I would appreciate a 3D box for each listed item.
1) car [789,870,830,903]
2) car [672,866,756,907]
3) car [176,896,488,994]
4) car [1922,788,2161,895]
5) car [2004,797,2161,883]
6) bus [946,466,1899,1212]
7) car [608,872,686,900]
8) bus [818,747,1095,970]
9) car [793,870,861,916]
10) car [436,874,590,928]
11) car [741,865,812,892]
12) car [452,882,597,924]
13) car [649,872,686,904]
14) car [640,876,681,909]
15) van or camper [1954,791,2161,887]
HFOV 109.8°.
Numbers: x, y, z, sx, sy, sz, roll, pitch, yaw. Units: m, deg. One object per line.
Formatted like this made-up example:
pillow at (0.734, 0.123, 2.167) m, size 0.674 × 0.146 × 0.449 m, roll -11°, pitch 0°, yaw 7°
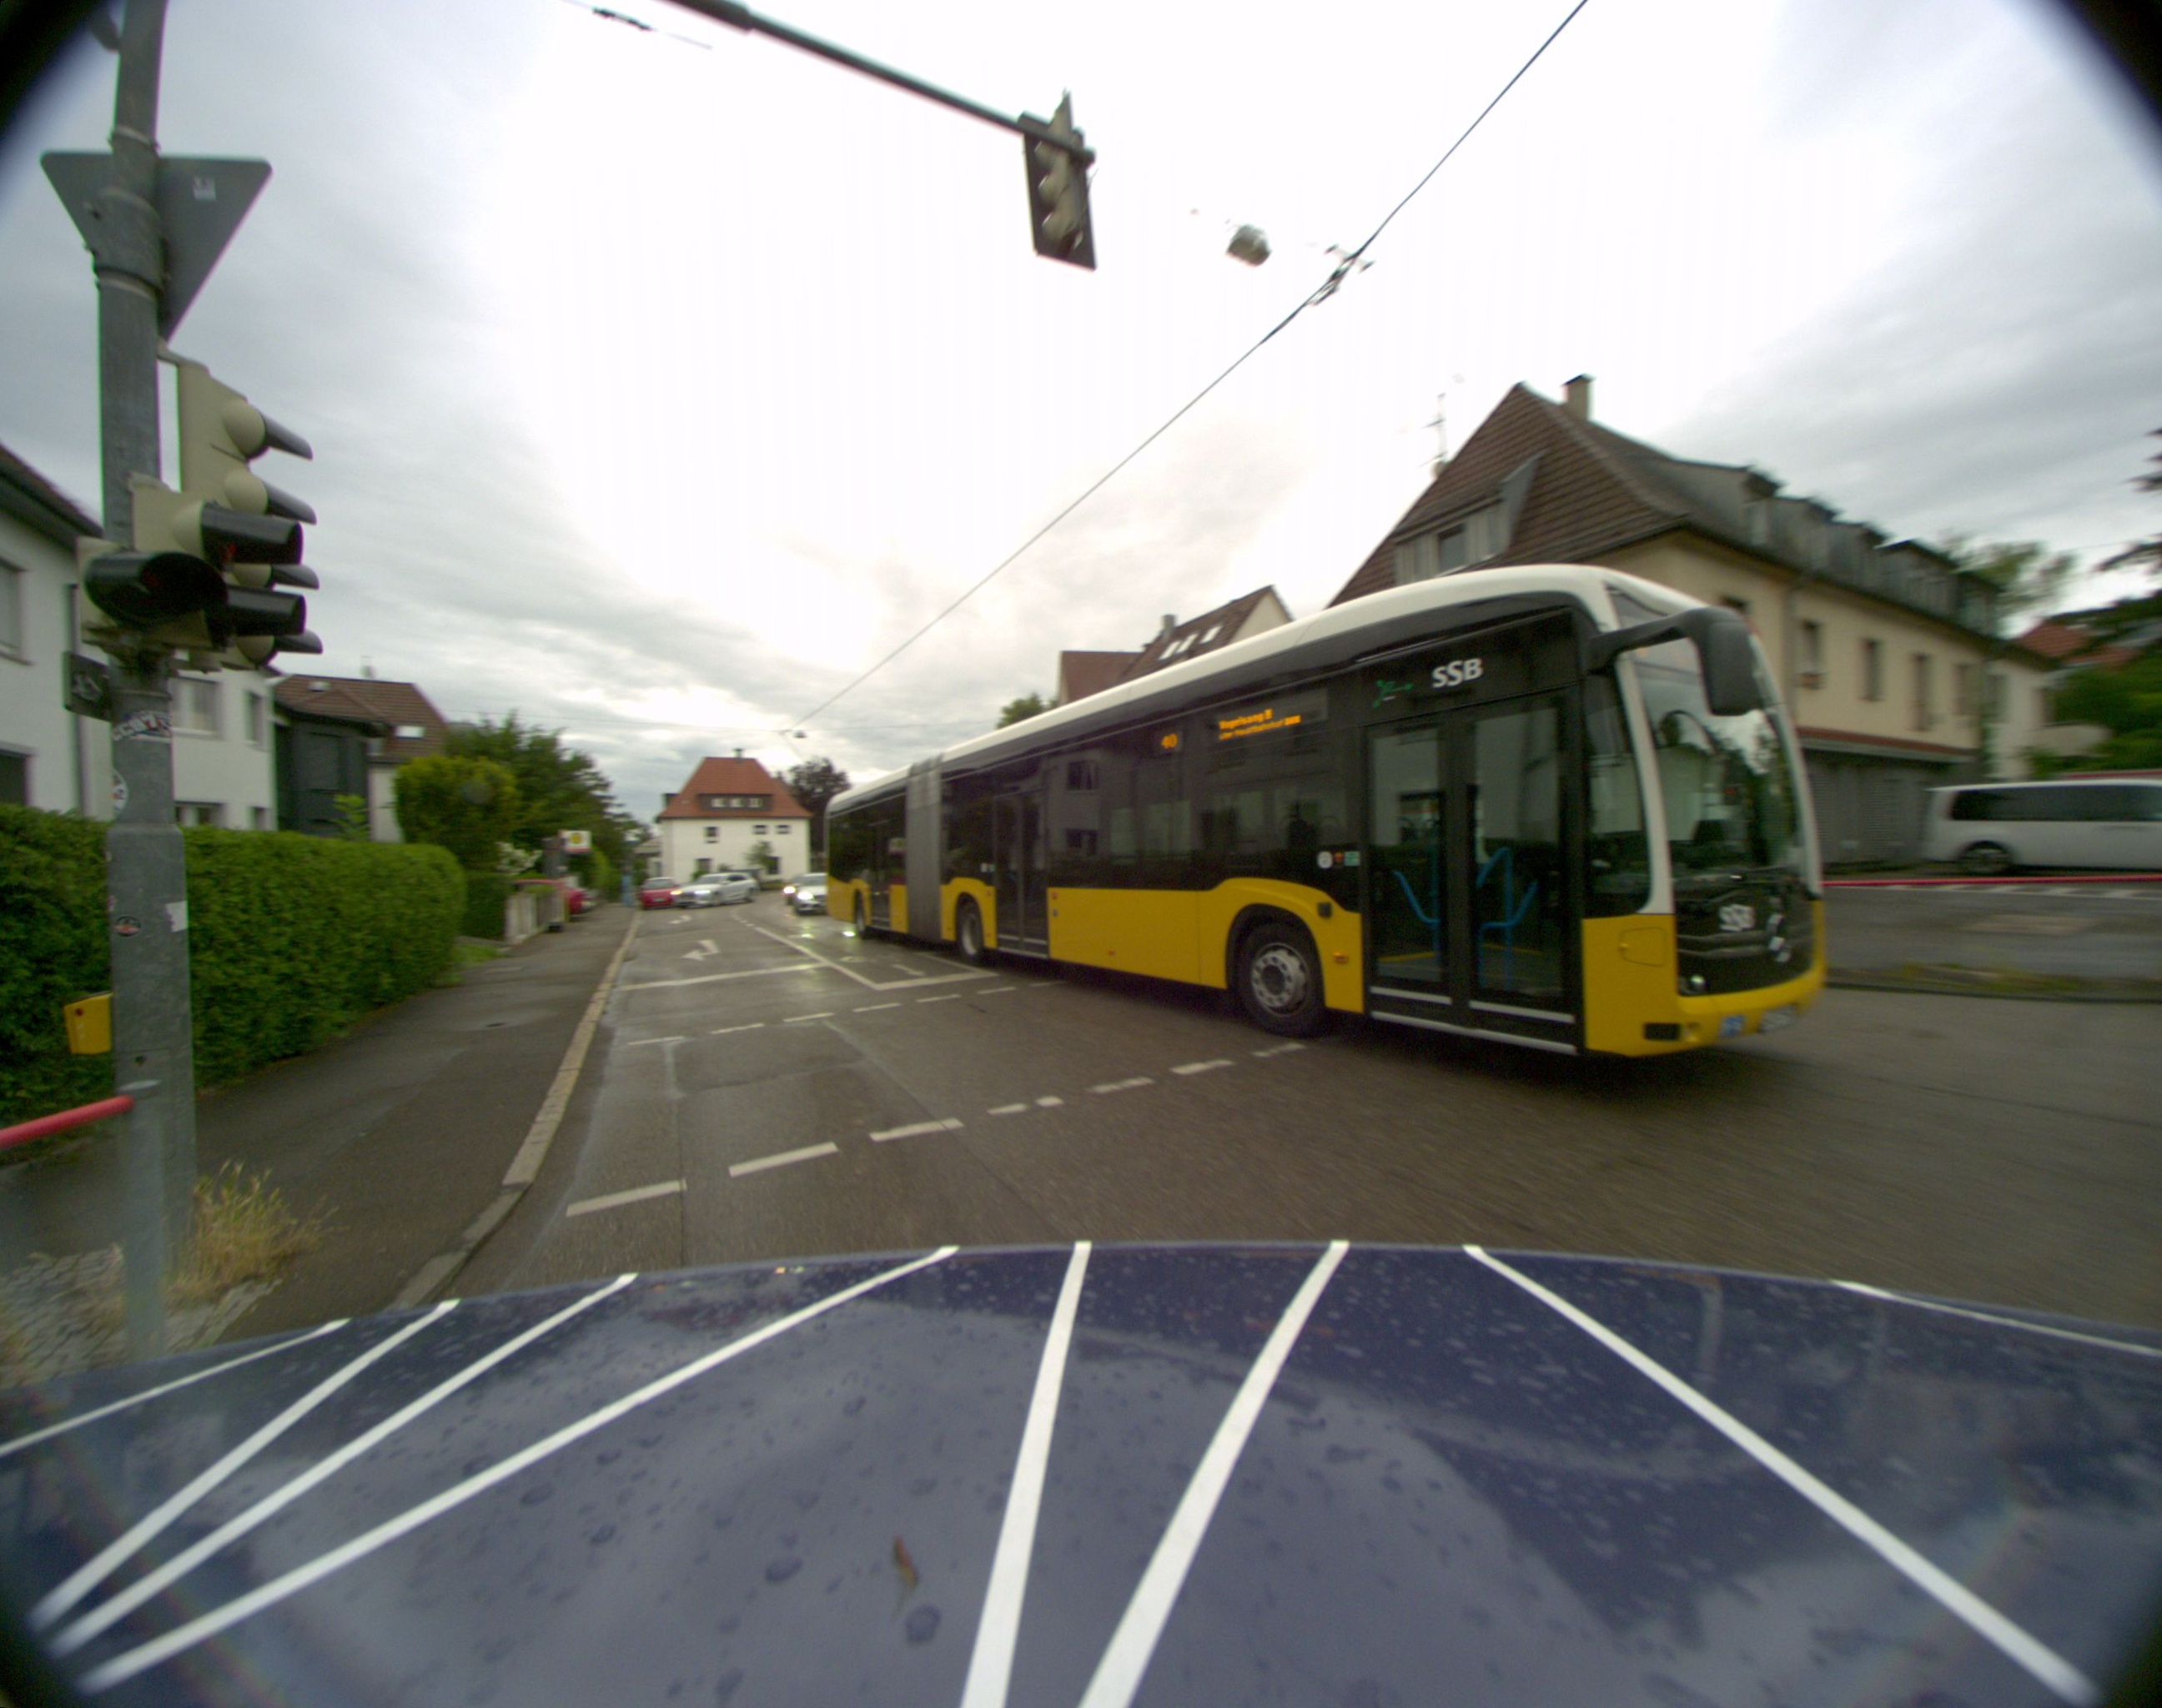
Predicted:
car at (-13.211, 1.545, 36.834) m, size 1.734 × 1.470 × 4.034 m, roll -2°, pitch -1°, yaw -21°
car at (-18.088, 1.578, 37.659) m, size 1.794 × 1.689 × 3.892 m, roll -3°, pitch 1°, yaw 7°
car at (-13.428, 1.572, 13.957) m, size 3.761 × 1.379 × 1.613 m, roll -2°, pitch -2°, yaw -30°
car at (20.686, -0.275, 14.959) m, size 2.002 × 2.002 × 5.171 m, roll -4°, pitch 1°, yaw -28°
car at (26.268, -0.366, 18.061) m, size 2.002 × 2.002 × 5.171 m, roll -4°, pitch 1°, yaw -26°
bus at (1.700, 0.003, 8.037) m, size 2.914 × 3.378 × 9.019 m, roll -2°, pitch 0°, yaw -32°
car at (-34.176, 2.468, 59.972) m, size 4.923 × 1.936 × 1.939 m, roll -2°, pitch 1°, yaw -9°
bus at (-3.158, 0.131, 15.883) m, size 2.689 × 3.378 × 8.661 m, roll -2°, pitch 0°, yaw -30°
car at (-9.345, 1.357, 27.745) m, size 2.002 × 1.470 × 4.478 m, roll -2°, pitch -1°, yaw -23°
car at (-20.813, 1.666, 27.987) m, size 1.995 × 1.740 × 4.095 m, roll -2°, pitch -1°, yaw 35°
car at (-24.585, 1.982, 61.552) m, size 4.923 × 1.936 × 1.939 m, roll -2°, pitch 1°, yaw -9°
car at (-22.231, 1.911, 30.571) m, size 4.570 × 1.408 × 1.995 m, roll -1°, pitch -1°, yaw -35°
car at (-24.602, 1.978, 45.169) m, size 1.752 × 1.663 × 4.637 m, roll -4°, pitch 1°, yaw -30°
car at (-21.691, 1.937, 39.258) m, size 1.618 × 1.528 × 3.533 m, roll -4°, pitch 1°, yaw -27°
van or camper at (23.500, -0.361, 16.785) m, size 2.002 × 2.002 × 5.171 m, roll -4°, pitch 1°, yaw -26°
